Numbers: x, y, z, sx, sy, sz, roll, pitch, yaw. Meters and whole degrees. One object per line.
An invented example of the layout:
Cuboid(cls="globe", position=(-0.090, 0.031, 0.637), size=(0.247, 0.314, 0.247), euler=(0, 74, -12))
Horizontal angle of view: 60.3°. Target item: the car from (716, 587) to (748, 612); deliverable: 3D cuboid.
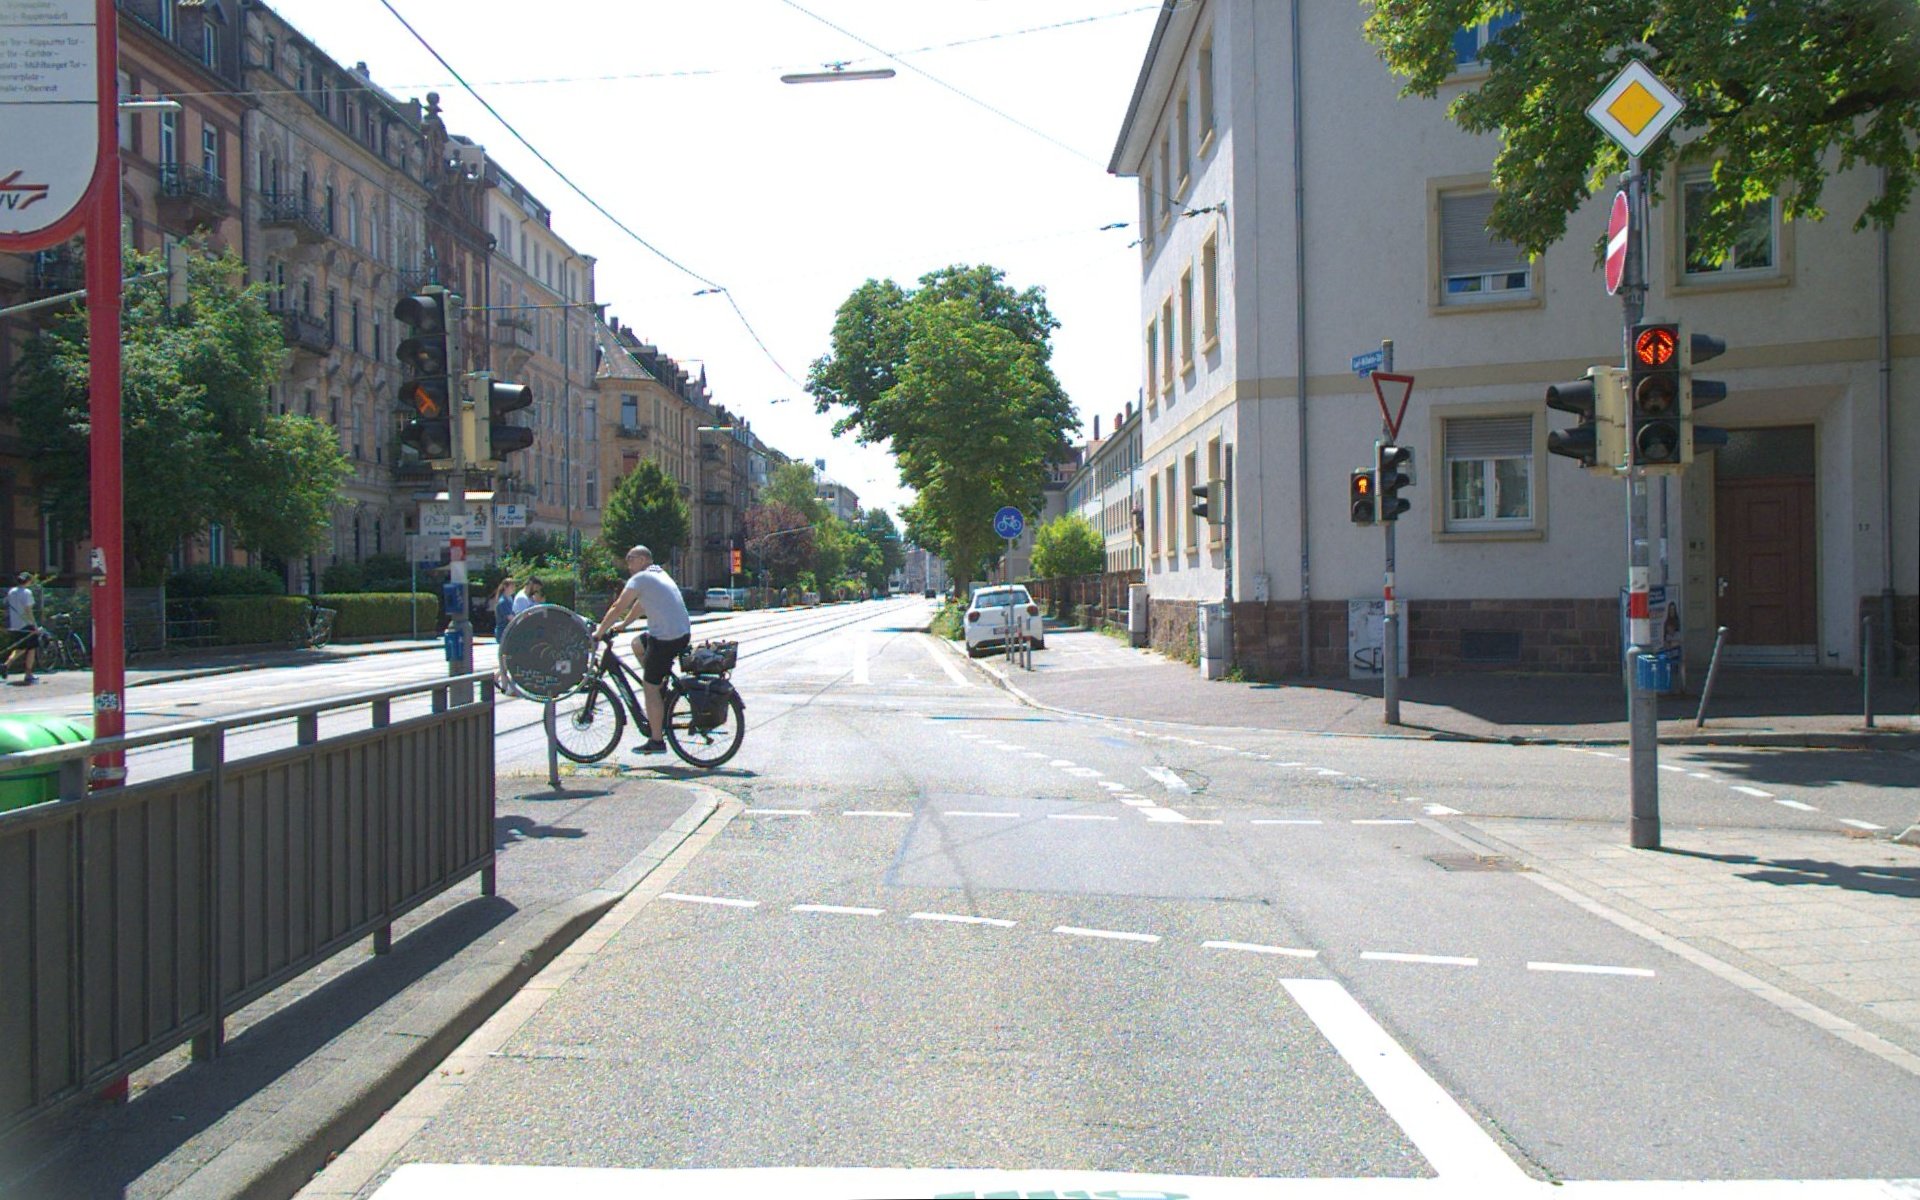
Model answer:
Cuboid(cls="car", position=(-17.036, -0.032, 123.557), size=(1.880, 1.745, 3.999), euler=(1, 0, -1))

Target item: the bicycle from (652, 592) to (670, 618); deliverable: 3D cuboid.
Cuboid(cls="bicycle", position=(-15.269, 0.243, 84.419), size=(0.664, 1.301, 1.917), euler=(-1, 0, -4))

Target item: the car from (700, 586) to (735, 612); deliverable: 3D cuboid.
Cuboid(cls="car", position=(-16.868, -0.062, 115.296), size=(1.880, 1.745, 3.999), euler=(1, 0, -1))

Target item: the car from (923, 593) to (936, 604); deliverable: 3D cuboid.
Cuboid(cls="car", position=(-4.419, -0.275, 240.490), size=(1.788, 1.545, 3.999), euler=(1, 0, -1))

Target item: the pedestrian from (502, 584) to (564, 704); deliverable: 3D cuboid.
Cuboid(cls="pedestrian", position=(-6.047, 0.614, 23.436), size=(0.660, 1.674, 0.559), euler=(1, -1, 5))

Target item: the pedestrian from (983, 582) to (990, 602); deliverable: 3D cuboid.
Cuboid(cls="pedestrian", position=(2.115, -0.633, 131.643), size=(0.511, 1.590, 0.573), euler=(-1, 0, -1))

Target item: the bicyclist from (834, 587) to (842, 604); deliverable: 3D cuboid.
Cuboid(cls="bicyclist", position=(-12.434, -0.473, 169.117), size=(0.712, 1.657, 1.079), euler=(1, 0, 1))

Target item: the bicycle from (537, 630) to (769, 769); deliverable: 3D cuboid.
Cuboid(cls="bicycle", position=(-2.494, 0.786, 13.480), size=(1.723, 1.075, 0.700), euler=(0, 0, 15))

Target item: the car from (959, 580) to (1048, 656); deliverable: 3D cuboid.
Cuboid(cls="car", position=(0.934, 0.392, 37.324), size=(1.778, 1.542, 3.999), euler=(-3, 0, -1))

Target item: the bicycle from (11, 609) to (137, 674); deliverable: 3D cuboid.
Cuboid(cls="bicycle", position=(-16.706, 0.756, 31.288), size=(0.918, 1.156, 2.773), euler=(1, 0, -2))

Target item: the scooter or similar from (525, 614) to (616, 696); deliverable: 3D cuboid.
Cuboid(cls="scooter or similar", position=(-5.741, 0.809, 24.405), size=(1.176, 1.175, 0.558), euler=(1, -1, 0))

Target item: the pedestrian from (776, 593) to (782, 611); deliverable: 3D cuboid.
Cuboid(cls="pedestrian", position=(-14.857, 0.134, 135.747), size=(0.398, 1.486, 0.436), euler=(-1, 0, -1))

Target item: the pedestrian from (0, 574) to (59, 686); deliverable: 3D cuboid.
Cuboid(cls="pedestrian", position=(-15.911, 0.488, 28.008), size=(0.799, 1.854, 0.874), euler=(1, 1, 3))

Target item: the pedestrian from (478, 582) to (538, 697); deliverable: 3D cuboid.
Cuboid(cls="pedestrian", position=(-6.673, 0.574, 24.436), size=(0.660, 1.674, 0.559), euler=(1, -1, 5))

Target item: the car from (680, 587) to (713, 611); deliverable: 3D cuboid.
Cuboid(cls="car", position=(-19.668, -0.076, 123.591), size=(1.880, 1.745, 3.999), euler=(1, 0, -1))

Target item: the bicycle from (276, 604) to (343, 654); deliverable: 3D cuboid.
Cuboid(cls="bicycle", position=(-15.894, 0.695, 40.496), size=(0.920, 1.156, 2.767), euler=(1, 0, -9))

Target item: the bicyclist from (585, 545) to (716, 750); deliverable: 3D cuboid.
Cuboid(cls="bicyclist", position=(-2.516, 0.375, 13.480), size=(0.829, 1.620, 0.700), euler=(0, 0, 14))

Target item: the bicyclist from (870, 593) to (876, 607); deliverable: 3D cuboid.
Cuboid(cls="bicyclist", position=(-11.242, -0.027, 213.289), size=(0.712, 1.850, 1.079), euler=(1, 0, 1))

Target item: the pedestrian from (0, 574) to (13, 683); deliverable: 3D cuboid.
Cuboid(cls="pedestrian", position=(-16.665, 0.480, 27.946), size=(0.799, 1.854, 0.874), euler=(1, 1, 3))
